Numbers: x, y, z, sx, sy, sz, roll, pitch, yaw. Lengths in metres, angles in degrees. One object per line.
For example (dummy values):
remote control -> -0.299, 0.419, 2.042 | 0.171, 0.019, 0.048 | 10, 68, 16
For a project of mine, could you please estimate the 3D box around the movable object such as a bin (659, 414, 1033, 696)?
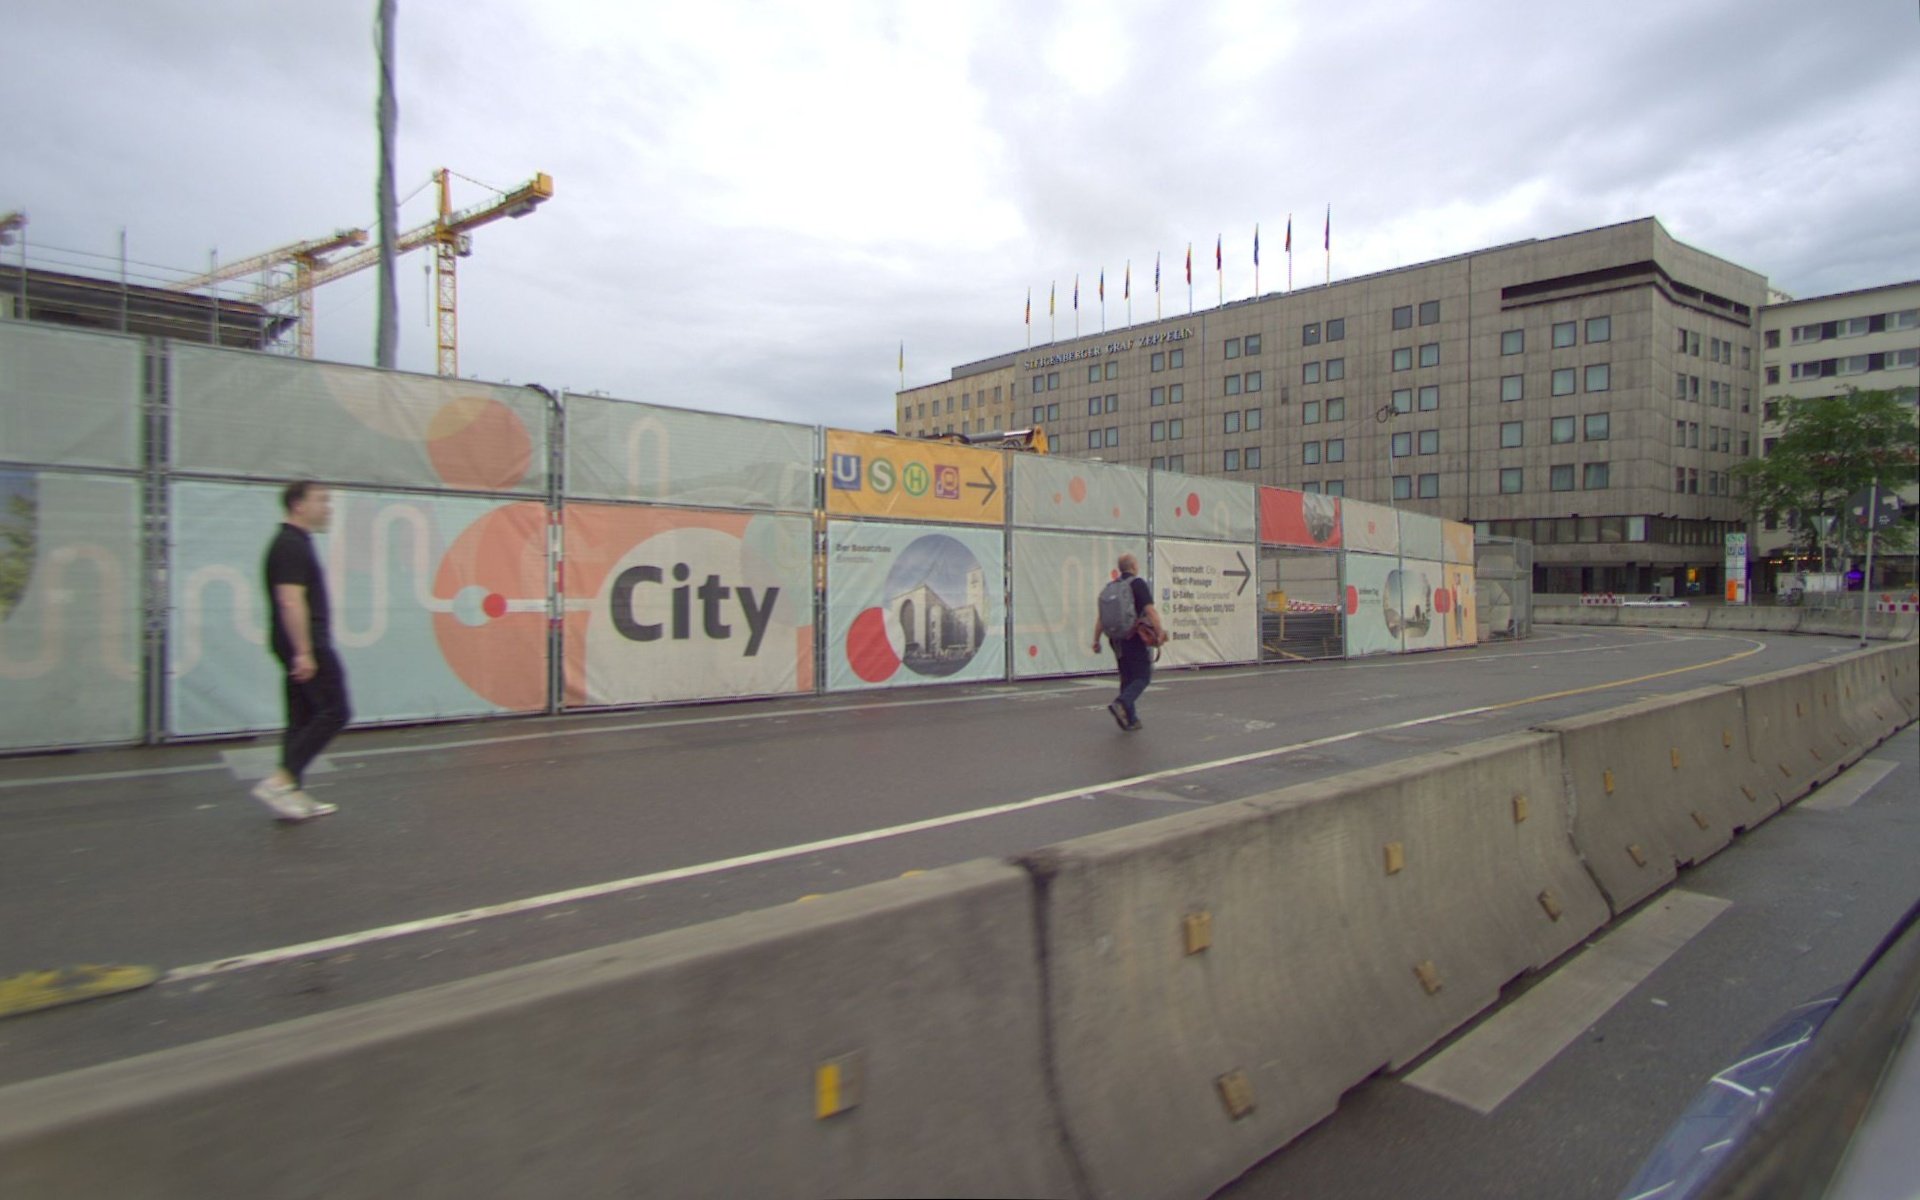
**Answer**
movable object such as a bin -> -1.758, -0.637, 15.632 | 4.282, 3.535, 3.934 | -1, 2, -43

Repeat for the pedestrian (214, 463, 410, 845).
pedestrian -> -3.590, 0.260, 5.599 | 0.805, 1.901, 0.798 | -1, 0, -40

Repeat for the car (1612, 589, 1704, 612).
car -> 43.529, 0.041, 63.192 | 1.616, 1.326, 4.517 | -2, 1, -44

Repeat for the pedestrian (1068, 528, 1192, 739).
pedestrian -> 1.580, 0.285, 9.455 | 0.674, 1.857, 0.927 | -1, 0, -40
